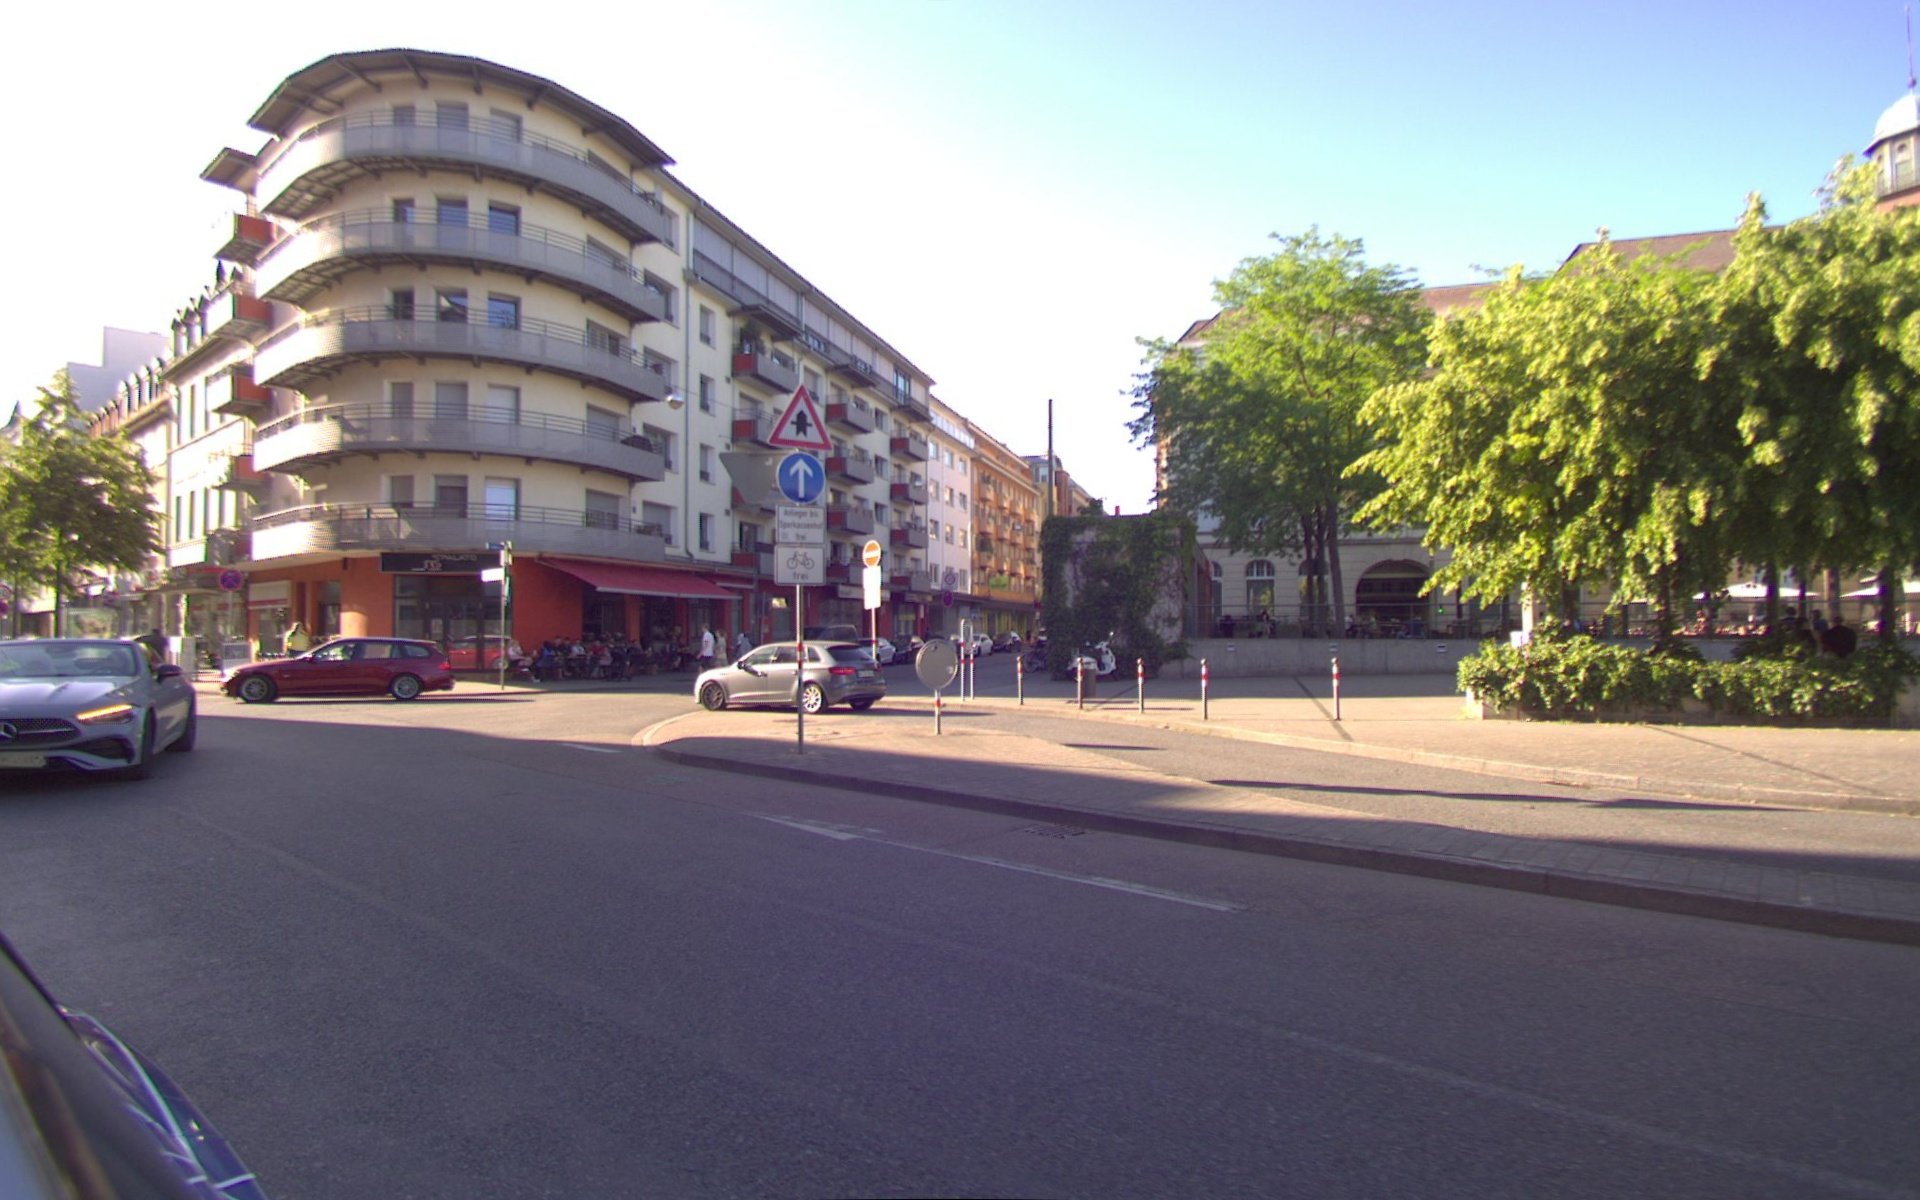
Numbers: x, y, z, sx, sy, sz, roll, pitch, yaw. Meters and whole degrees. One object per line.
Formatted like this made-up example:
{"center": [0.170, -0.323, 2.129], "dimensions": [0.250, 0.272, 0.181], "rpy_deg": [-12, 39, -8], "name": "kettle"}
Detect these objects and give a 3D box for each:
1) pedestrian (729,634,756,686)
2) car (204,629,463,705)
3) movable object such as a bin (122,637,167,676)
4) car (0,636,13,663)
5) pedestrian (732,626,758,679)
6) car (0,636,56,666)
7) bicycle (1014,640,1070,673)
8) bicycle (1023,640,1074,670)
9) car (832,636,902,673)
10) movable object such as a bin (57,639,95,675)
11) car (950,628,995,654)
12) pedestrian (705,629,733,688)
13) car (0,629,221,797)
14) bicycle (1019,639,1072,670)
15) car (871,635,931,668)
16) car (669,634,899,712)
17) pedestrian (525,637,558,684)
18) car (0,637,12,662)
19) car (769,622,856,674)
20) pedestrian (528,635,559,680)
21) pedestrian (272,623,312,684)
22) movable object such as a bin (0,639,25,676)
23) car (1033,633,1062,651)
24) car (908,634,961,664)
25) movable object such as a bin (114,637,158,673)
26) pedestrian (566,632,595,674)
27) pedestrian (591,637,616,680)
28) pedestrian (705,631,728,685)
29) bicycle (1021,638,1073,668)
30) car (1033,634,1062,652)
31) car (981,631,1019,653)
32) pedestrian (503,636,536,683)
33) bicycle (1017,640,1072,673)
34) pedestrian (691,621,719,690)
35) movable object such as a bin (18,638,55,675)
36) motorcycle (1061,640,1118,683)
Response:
{"center": [-6.566, 1.797, 30.558], "dimensions": [0.690, 1.547, 0.575], "rpy_deg": [-1, -2, -1], "name": "pedestrian"}
{"center": [-13.717, 1.462, 22.448], "dimensions": [4.654, 1.527, 1.927], "rpy_deg": [2, -3, -30], "name": "car"}
{"center": [-30.567, 2.115, 37.931], "dimensions": [1.313, 1.415, 1.032], "rpy_deg": [-2, -3, 39], "name": "movable object such as a bin"}
{"center": [-55.311, 2.820, 56.258], "dimensions": [1.738, 1.479, 3.710], "rpy_deg": [-2, -2, 40], "name": "car"}
{"center": [-6.358, 1.553, 29.923], "dimensions": [0.677, 1.547, 0.542], "rpy_deg": [-1, -2, -1], "name": "pedestrian"}
{"center": [-49.224, 2.650, 51.897], "dimensions": [1.739, 1.479, 4.158], "rpy_deg": [-2, -2, 42], "name": "car"}
{"center": [2.923, 2.002, 36.059], "dimensions": [1.945, 1.140, 0.504], "rpy_deg": [-1, -2, 12], "name": "bicycle"}
{"center": [3.422, 2.125, 39.129], "dimensions": [1.945, 1.140, 0.504], "rpy_deg": [-1, -2, 12], "name": "bicycle"}
{"center": [-4.337, 2.569, 47.851], "dimensions": [1.894, 1.673, 4.160], "rpy_deg": [0, -3, 16], "name": "car"}
{"center": [-37.277, 2.380, 42.681], "dimensions": [1.142, 1.483, 1.032], "rpy_deg": [-2, -3, 39], "name": "movable object such as a bin"}
{"center": [0.845, 2.595, 64.328], "dimensions": [1.894, 1.585, 4.160], "rpy_deg": [0, -3, 16], "name": "car"}
{"center": [-6.683, 1.613, 28.081], "dimensions": [0.576, 1.625, 0.615], "rpy_deg": [-1, -2, 7], "name": "pedestrian"}
{"center": [-9.573, 1.065, 10.897], "dimensions": [1.966, 1.434, 5.133], "rpy_deg": [2, -3, -29], "name": "car"}
{"center": [3.195, 2.030, 37.909], "dimensions": [1.945, 1.140, 0.504], "rpy_deg": [-1, -2, 12], "name": "bicycle"}
{"center": [-3.030, 2.684, 53.149], "dimensions": [1.894, 1.673, 4.160], "rpy_deg": [0, -3, 16], "name": "car"}
{"center": [-3.600, 1.479, 20.490], "dimensions": [4.519, 1.434, 1.736], "rpy_deg": [-3, -3, 30], "name": "car"}
{"center": [-12.299, 1.771, 29.722], "dimensions": [0.693, 1.350, 0.573], "rpy_deg": [-1, -2, 12], "name": "pedestrian"}
{"center": [-57.087, 2.913, 58.070], "dimensions": [1.789, 1.439, 3.800], "rpy_deg": [-2, -2, 42], "name": "car"}
{"center": [-6.054, 1.991, 42.086], "dimensions": [2.017, 2.065, 4.328], "rpy_deg": [0, -3, 16], "name": "car"}
{"center": [-12.836, 1.767, 31.199], "dimensions": [0.693, 1.350, 0.573], "rpy_deg": [-1, -2, 12], "name": "pedestrian"}
{"center": [-18.690, 1.497, 28.328], "dimensions": [1.036, 1.672, 0.658], "rpy_deg": [-2, -2, 40], "name": "pedestrian"}
{"center": [-38.488, 2.314, 40.793], "dimensions": [1.142, 1.483, 1.032], "rpy_deg": [-2, -3, 39], "name": "movable object such as a bin"}
{"center": [7.903, 3.809, 91.159], "dimensions": [1.894, 1.585, 4.160], "rpy_deg": [0, -3, 16], "name": "car"}
{"center": [-1.421, 2.800, 58.341], "dimensions": [1.894, 1.673, 4.160], "rpy_deg": [0, -3, 16], "name": "car"}
{"center": [-31.746, 2.108, 38.989], "dimensions": [1.313, 1.355, 1.032], "rpy_deg": [-2, -3, 39], "name": "movable object such as a bin"}
{"center": [-12.391, 1.737, 33.089], "dimensions": [0.693, 1.350, 0.573], "rpy_deg": [-1, -2, 12], "name": "pedestrian"}
{"center": [-11.392, 1.865, 32.323], "dimensions": [0.688, 1.350, 0.576], "rpy_deg": [0, -2, -12], "name": "pedestrian"}
{"center": [-7.011, 1.665, 29.122], "dimensions": [0.545, 1.547, 0.542], "rpy_deg": [-1, -2, -1], "name": "pedestrian"}
{"center": [3.306, 2.018, 38.519], "dimensions": [1.945, 1.140, 0.504], "rpy_deg": [-1, -2, 12], "name": "bicycle"}
{"center": [7.872, 3.876, 91.072], "dimensions": [1.894, 1.585, 4.160], "rpy_deg": [0, -3, 16], "name": "car"}
{"center": [2.967, 3.068, 73.850], "dimensions": [1.894, 1.585, 4.160], "rpy_deg": [0, -3, 16], "name": "car"}
{"center": [-13.010, 1.750, 29.899], "dimensions": [0.693, 1.350, 0.573], "rpy_deg": [-1, -2, 12], "name": "pedestrian"}
{"center": [3.061, 2.040, 36.588], "dimensions": [1.945, 1.140, 0.504], "rpy_deg": [-1, -2, 12], "name": "bicycle"}
{"center": [-6.898, 1.508, 27.378], "dimensions": [0.552, 1.841, 0.586], "rpy_deg": [-1, -2, 7], "name": "pedestrian"}
{"center": [-38.084, 2.333, 41.743], "dimensions": [1.142, 1.483, 0.954], "rpy_deg": [-2, -2, 39], "name": "movable object such as a bin"}
{"center": [3.819, 1.802, 29.738], "dimensions": [1.665, 1.217, 0.507], "rpy_deg": [1, -3, -29], "name": "motorcycle"}
